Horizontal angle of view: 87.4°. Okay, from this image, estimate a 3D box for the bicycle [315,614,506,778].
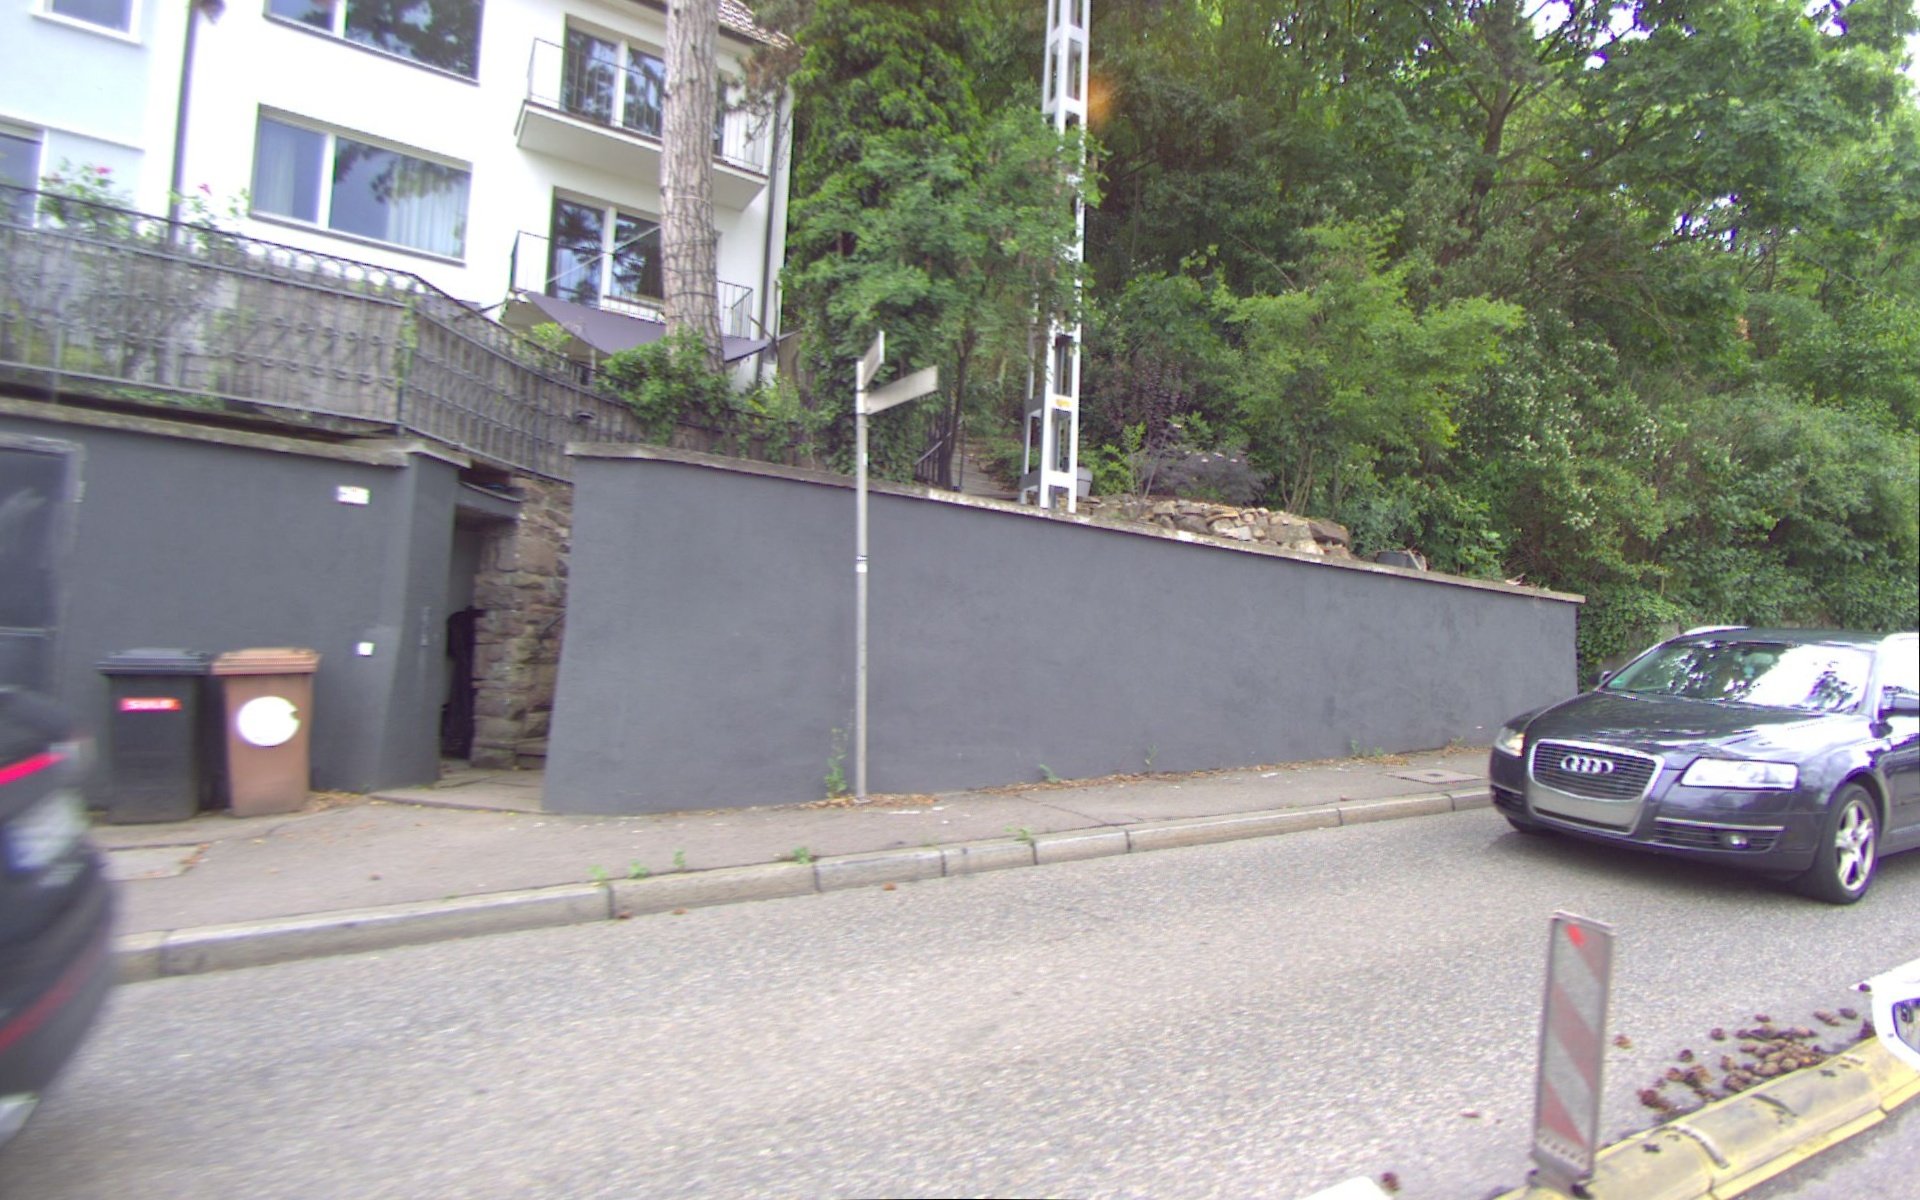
[{"bbox_3d":[-4.116,0.689,7.582,0.341,1.148,1.205,1,-1,45],"label":"bicycle"}]

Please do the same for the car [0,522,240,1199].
[{"bbox_3d":[-3.535,0.589,1.466,3.866,1.550,1.749,1,1,-31],"label":"car"}]

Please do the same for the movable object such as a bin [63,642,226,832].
[{"bbox_3d":[-4.460,0.718,5.533,0.594,0.951,0.540,2,0,-30],"label":"movable object such as a bin"}]

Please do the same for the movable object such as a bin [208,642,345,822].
[{"bbox_3d":[-3.946,0.736,5.840,0.594,0.951,0.540,2,0,-30],"label":"movable object such as a bin"}]

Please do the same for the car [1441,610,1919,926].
[{"bbox_3d":[5.434,0.865,6.690,4.455,1.484,1.783,1,0,-29],"label":"car"}]
